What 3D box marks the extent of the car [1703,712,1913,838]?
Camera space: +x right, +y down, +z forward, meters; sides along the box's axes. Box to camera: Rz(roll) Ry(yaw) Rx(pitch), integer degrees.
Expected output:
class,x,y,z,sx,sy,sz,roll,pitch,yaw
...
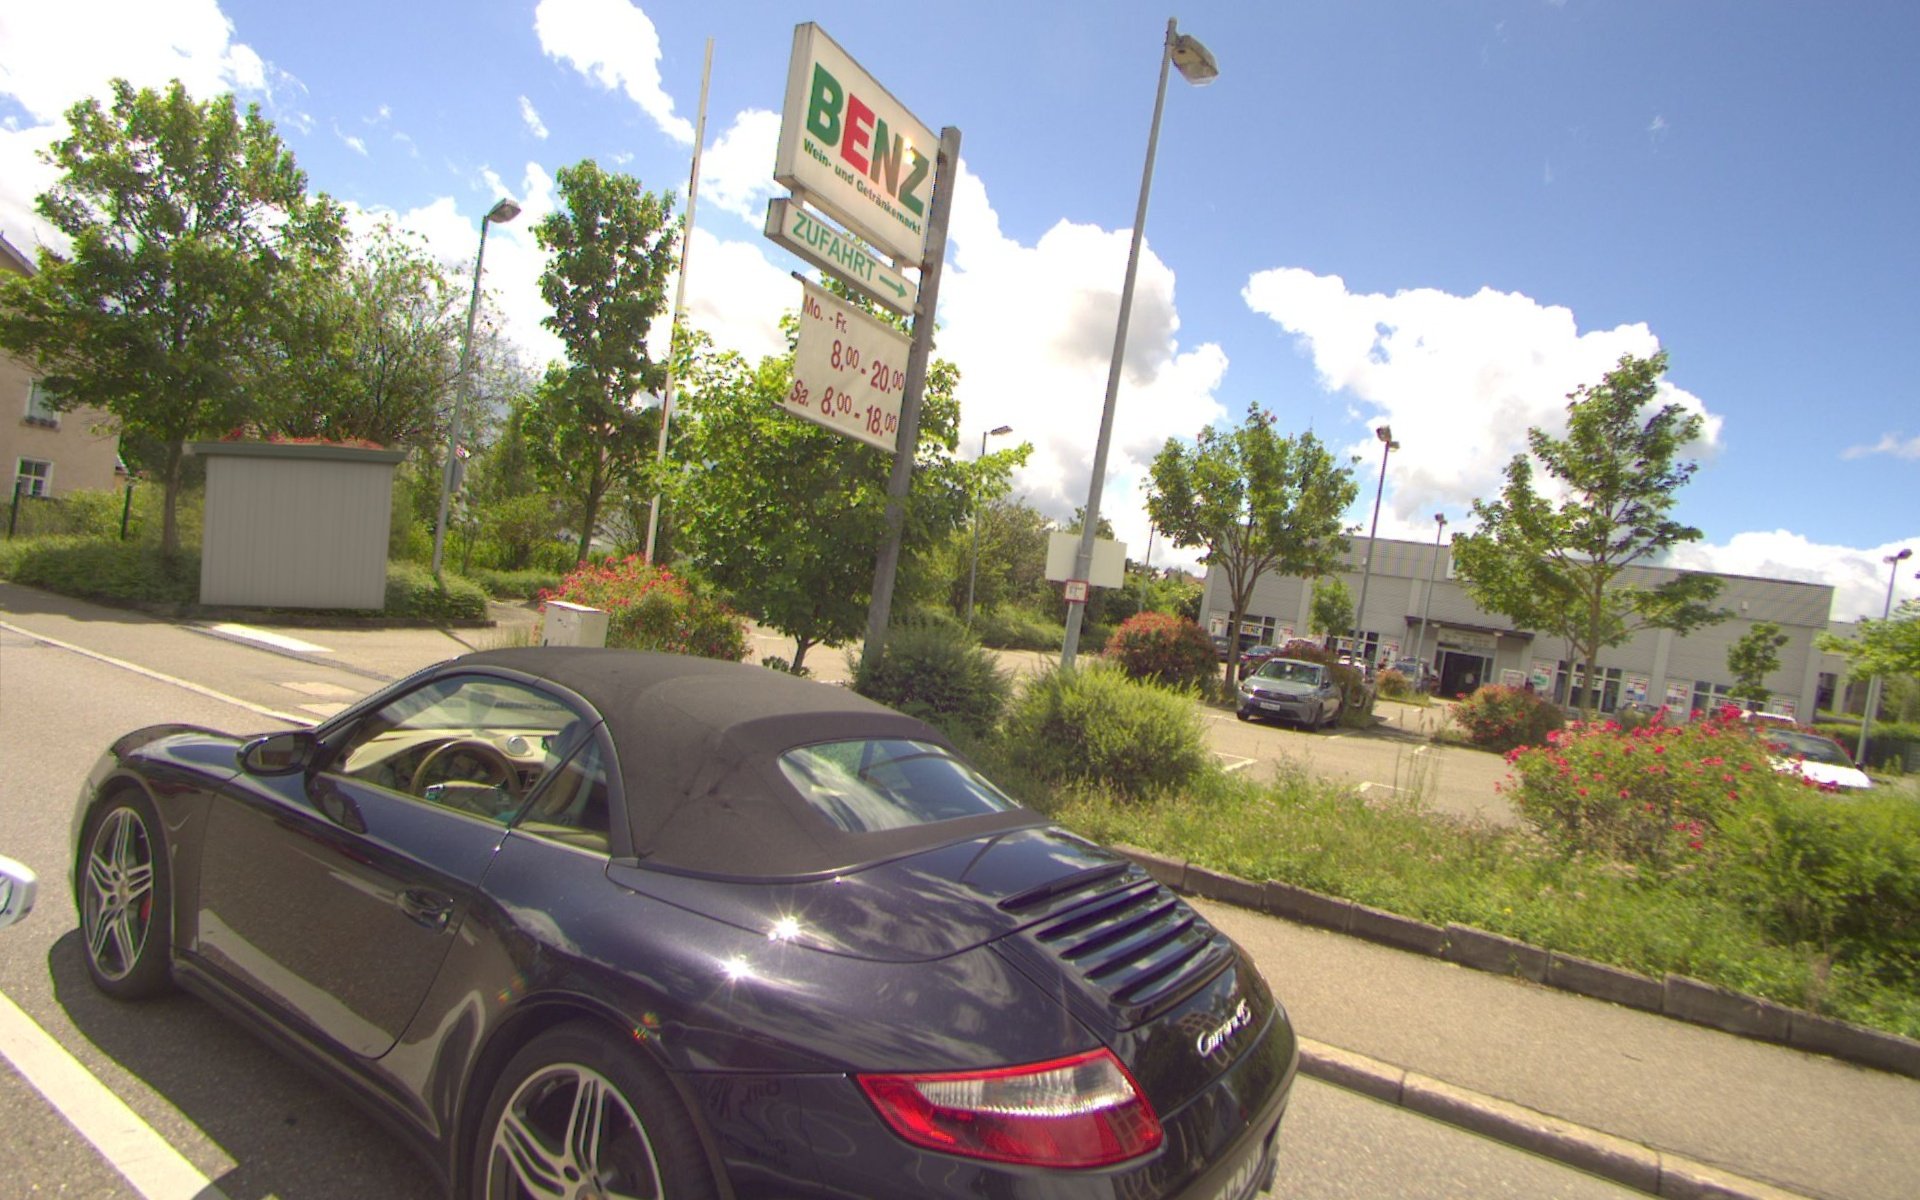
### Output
class,x,y,z,sx,sy,sz,roll,pitch,yaw
car,15.049,3.006,18.152,1.856,1.509,4.440,8,0,29

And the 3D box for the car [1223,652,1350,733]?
class,x,y,z,sx,sy,sz,roll,pitch,yaw
car,7.368,2.032,22.462,1.856,1.386,3.878,8,0,29

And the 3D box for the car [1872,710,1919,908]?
class,x,y,z,sx,sy,sz,roll,pitch,yaw
car,9.791,2.090,8.125,2.051,1.871,4.719,7,0,24

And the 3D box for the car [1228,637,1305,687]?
class,x,y,z,sx,sy,sz,roll,pitch,yaw
car,11.939,2.403,39.054,1.890,1.595,4.299,7,0,29

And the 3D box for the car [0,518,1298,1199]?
class,x,y,z,sx,sy,sz,roll,pitch,yaw
car,-1.257,0.776,3.321,4.133,1.393,1.936,10,0,27
